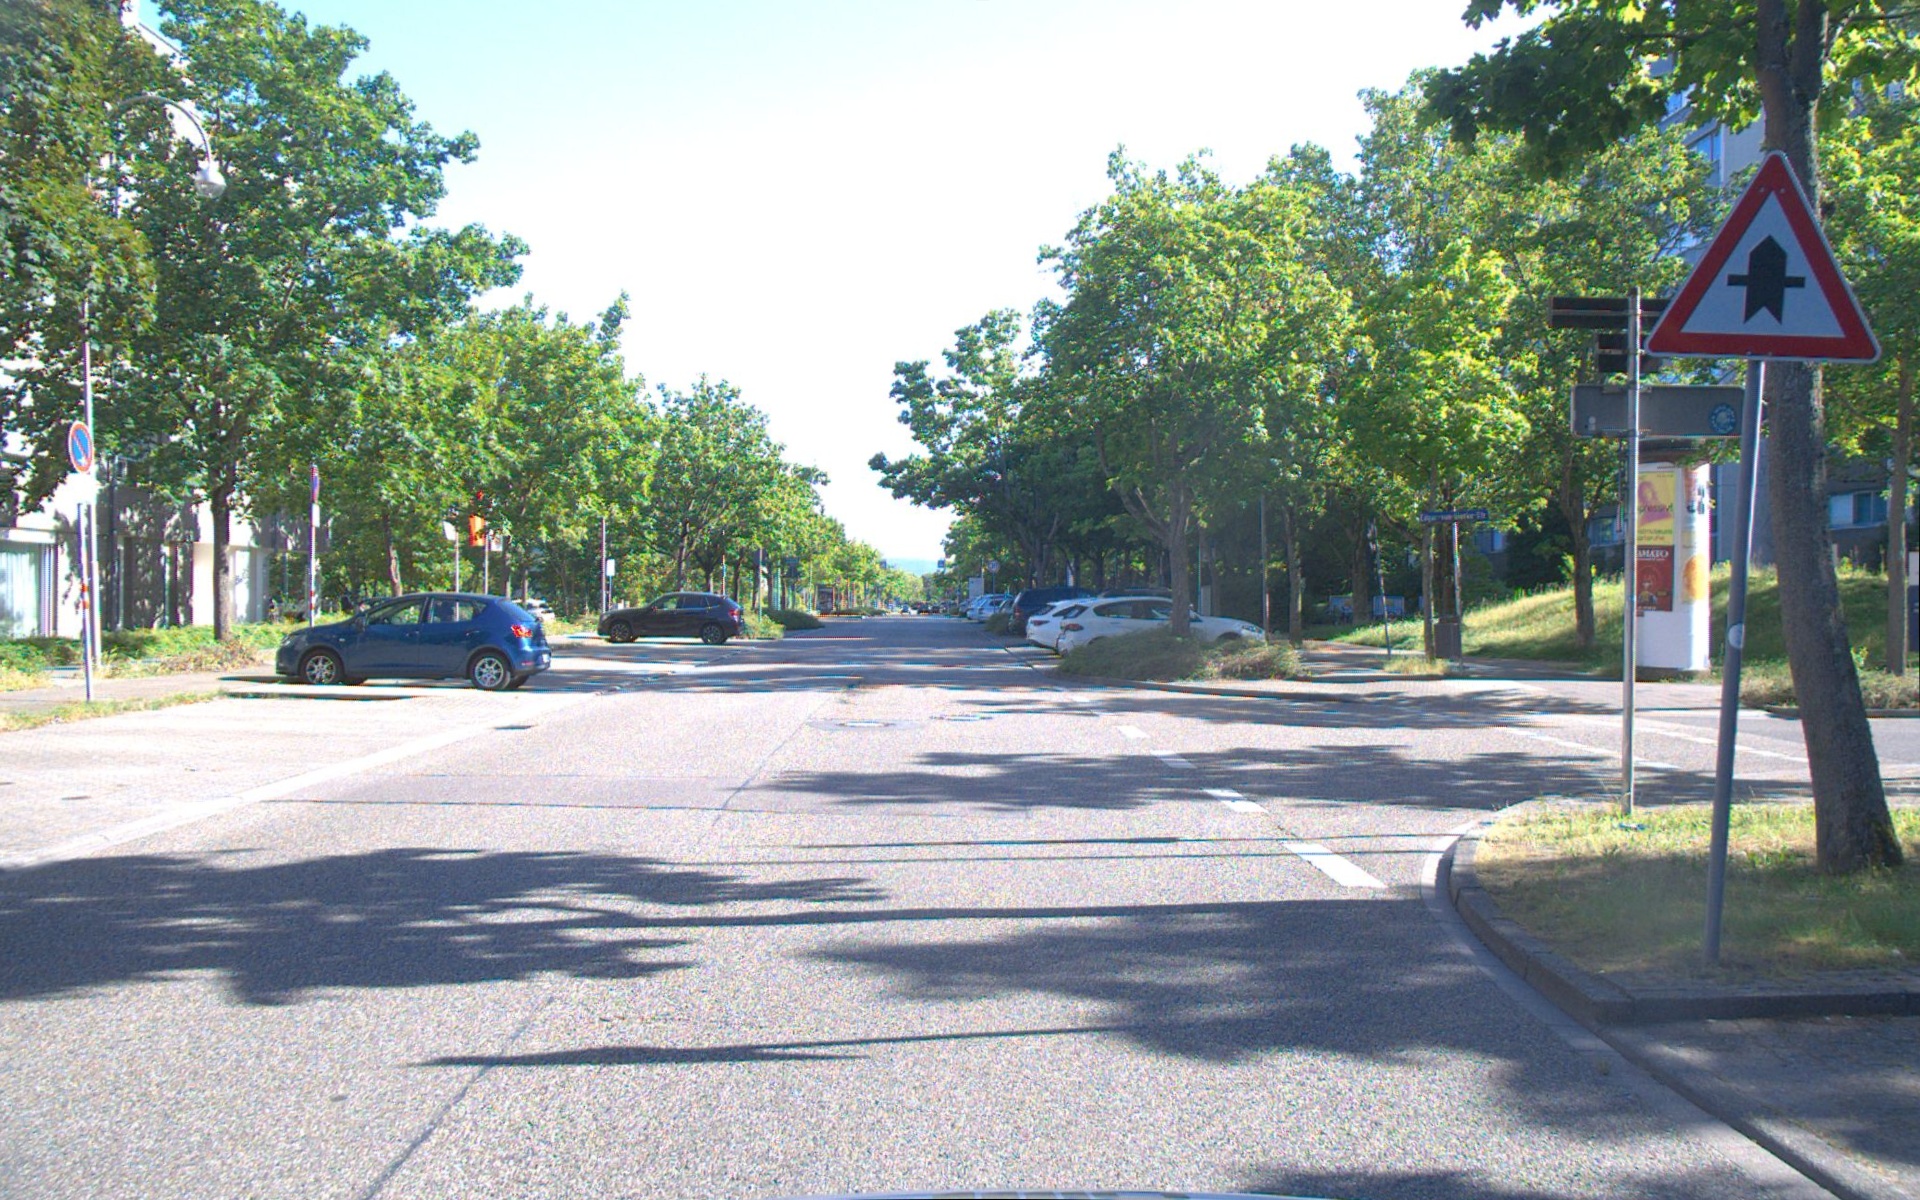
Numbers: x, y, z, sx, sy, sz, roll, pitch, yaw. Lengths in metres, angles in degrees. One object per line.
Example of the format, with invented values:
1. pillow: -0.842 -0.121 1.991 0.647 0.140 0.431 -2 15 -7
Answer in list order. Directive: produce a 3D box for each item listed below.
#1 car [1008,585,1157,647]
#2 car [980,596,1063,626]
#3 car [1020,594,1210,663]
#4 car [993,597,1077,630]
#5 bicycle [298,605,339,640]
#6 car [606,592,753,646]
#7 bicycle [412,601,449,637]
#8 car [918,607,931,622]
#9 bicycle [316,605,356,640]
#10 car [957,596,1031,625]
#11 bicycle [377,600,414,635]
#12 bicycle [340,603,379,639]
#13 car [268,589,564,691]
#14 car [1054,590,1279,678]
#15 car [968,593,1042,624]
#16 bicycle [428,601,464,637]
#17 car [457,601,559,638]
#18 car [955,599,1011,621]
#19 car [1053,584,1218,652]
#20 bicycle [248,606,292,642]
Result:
1. car: 3.826 0.489 52.275 4.494 1.810 1.999 -1 0 -1
2. car: 3.185 0.565 84.907 4.185 1.453 1.828 0 0 3
3. car: 3.740 0.689 40.347 4.354 1.572 1.816 1 0 -4
4. car: 3.604 0.626 80.034 3.906 1.476 1.717 -2 0 -1
5. bicycle: -19.672 0.683 50.778 0.428 1.066 2.192 1 0 -1
6. car: -8.384 0.568 49.730 4.107 1.547 1.771 1 0 -1
7. bicycle: -16.207 0.566 50.651 0.428 1.066 2.192 1 0 -1
8. car: -5.304 2.119 246.235 1.953 2.048 4.000 1 1 -1
9. bicycle: -19.146 0.681 50.790 0.428 1.066 2.192 1 0 -1
10. car: 1.998 0.621 98.769 4.256 1.515 1.737 -2 0 -3
11. bicycle: -17.799 0.535 52.154 0.428 1.066 2.192 1 0 -1
12. bicycle: -18.337 0.630 50.539 0.428 1.066 2.192 1 0 -1
13. car: -8.159 0.591 25.109 3.909 1.436 1.815 1 0 -5
14. car: 4.229 0.693 34.305 4.340 1.620 1.835 -2 0 -4
15. car: 2.754 0.500 101.491 4.347 1.676 1.815 -3 0 -3
16. bicycle: -15.734 0.572 50.671 0.428 1.066 2.192 1 0 -1
17. car: -19.888 0.857 72.911 3.994 1.476 1.625 -2 0 0
18. car: 1.705 0.737 123.129 4.080 1.453 1.999 -3 0 -2
19. car: 4.577 0.471 43.499 4.036 1.646 1.732 -2 -1 -3
20. bicycle: -21.120 0.713 50.666 0.428 1.066 2.192 1 0 -1
